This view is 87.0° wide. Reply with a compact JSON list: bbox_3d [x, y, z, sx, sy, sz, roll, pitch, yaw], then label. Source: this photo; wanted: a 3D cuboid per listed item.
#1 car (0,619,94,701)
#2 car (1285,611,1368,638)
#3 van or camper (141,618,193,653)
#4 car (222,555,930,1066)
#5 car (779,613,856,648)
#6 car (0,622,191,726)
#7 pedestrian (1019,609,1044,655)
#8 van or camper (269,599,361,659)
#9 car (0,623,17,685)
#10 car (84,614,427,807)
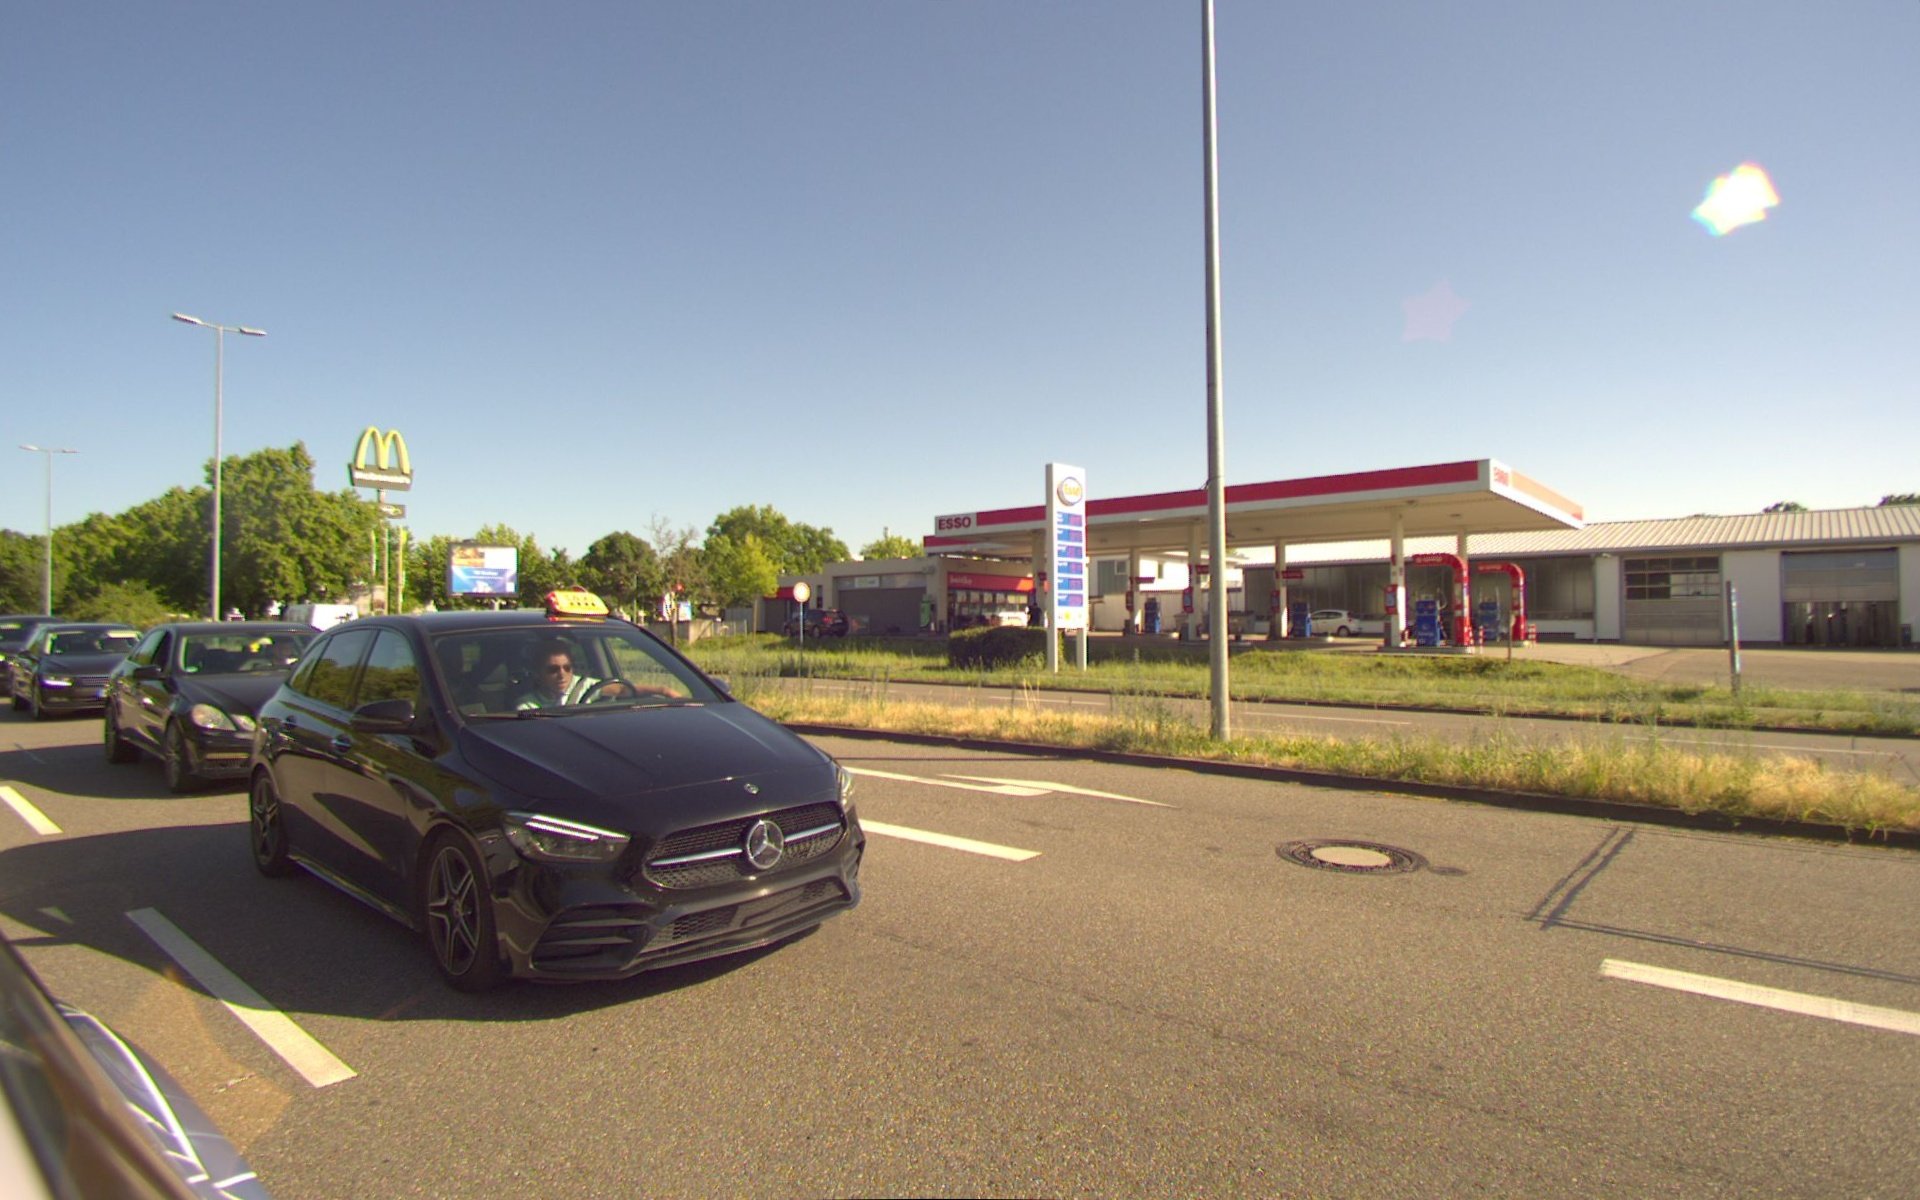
[{"bbox_3d":[-20.110,1.228,21.615,4.401,1.600,1.838,-2,-2,41],"label":"car"},{"bbox_3d":[19.852,1.333,54.868,3.844,1.450,1.730,-2,-2,39],"label":"car"},{"bbox_3d":[-61.941,2.765,79.003,5.952,2.671,1.973,-1,-4,40],"label":"van or camper"},{"bbox_3d":[-2.284,0.729,5.339,4.187,1.638,1.780,-2,-2,42],"label":"car"},{"bbox_3d":[-7.783,1.632,54.998,4.117,1.783,1.972,-2,-1,43],"label":"car"},{"bbox_3d":[-14.425,1.125,16.775,4.401,1.492,1.838,-2,-2,41],"label":"car"},{"bbox_3d":[3.169,1.402,44.828,0.840,2.029,0.694,-2,-2,41],"label":"pedestrian"},{"bbox_3d":[-29.625,1.315,46.360,2.153,2.592,6.757,1,-2,-45],"label":"van or camper"},{"bbox_3d":[-26.662,1.426,26.940,4.401,1.600,1.838,-2,-2,41],"label":"car"},{"bbox_3d":[-7.221,0.931,10.193,4.401,1.535,1.838,-2,-2,41],"label":"car"}]
